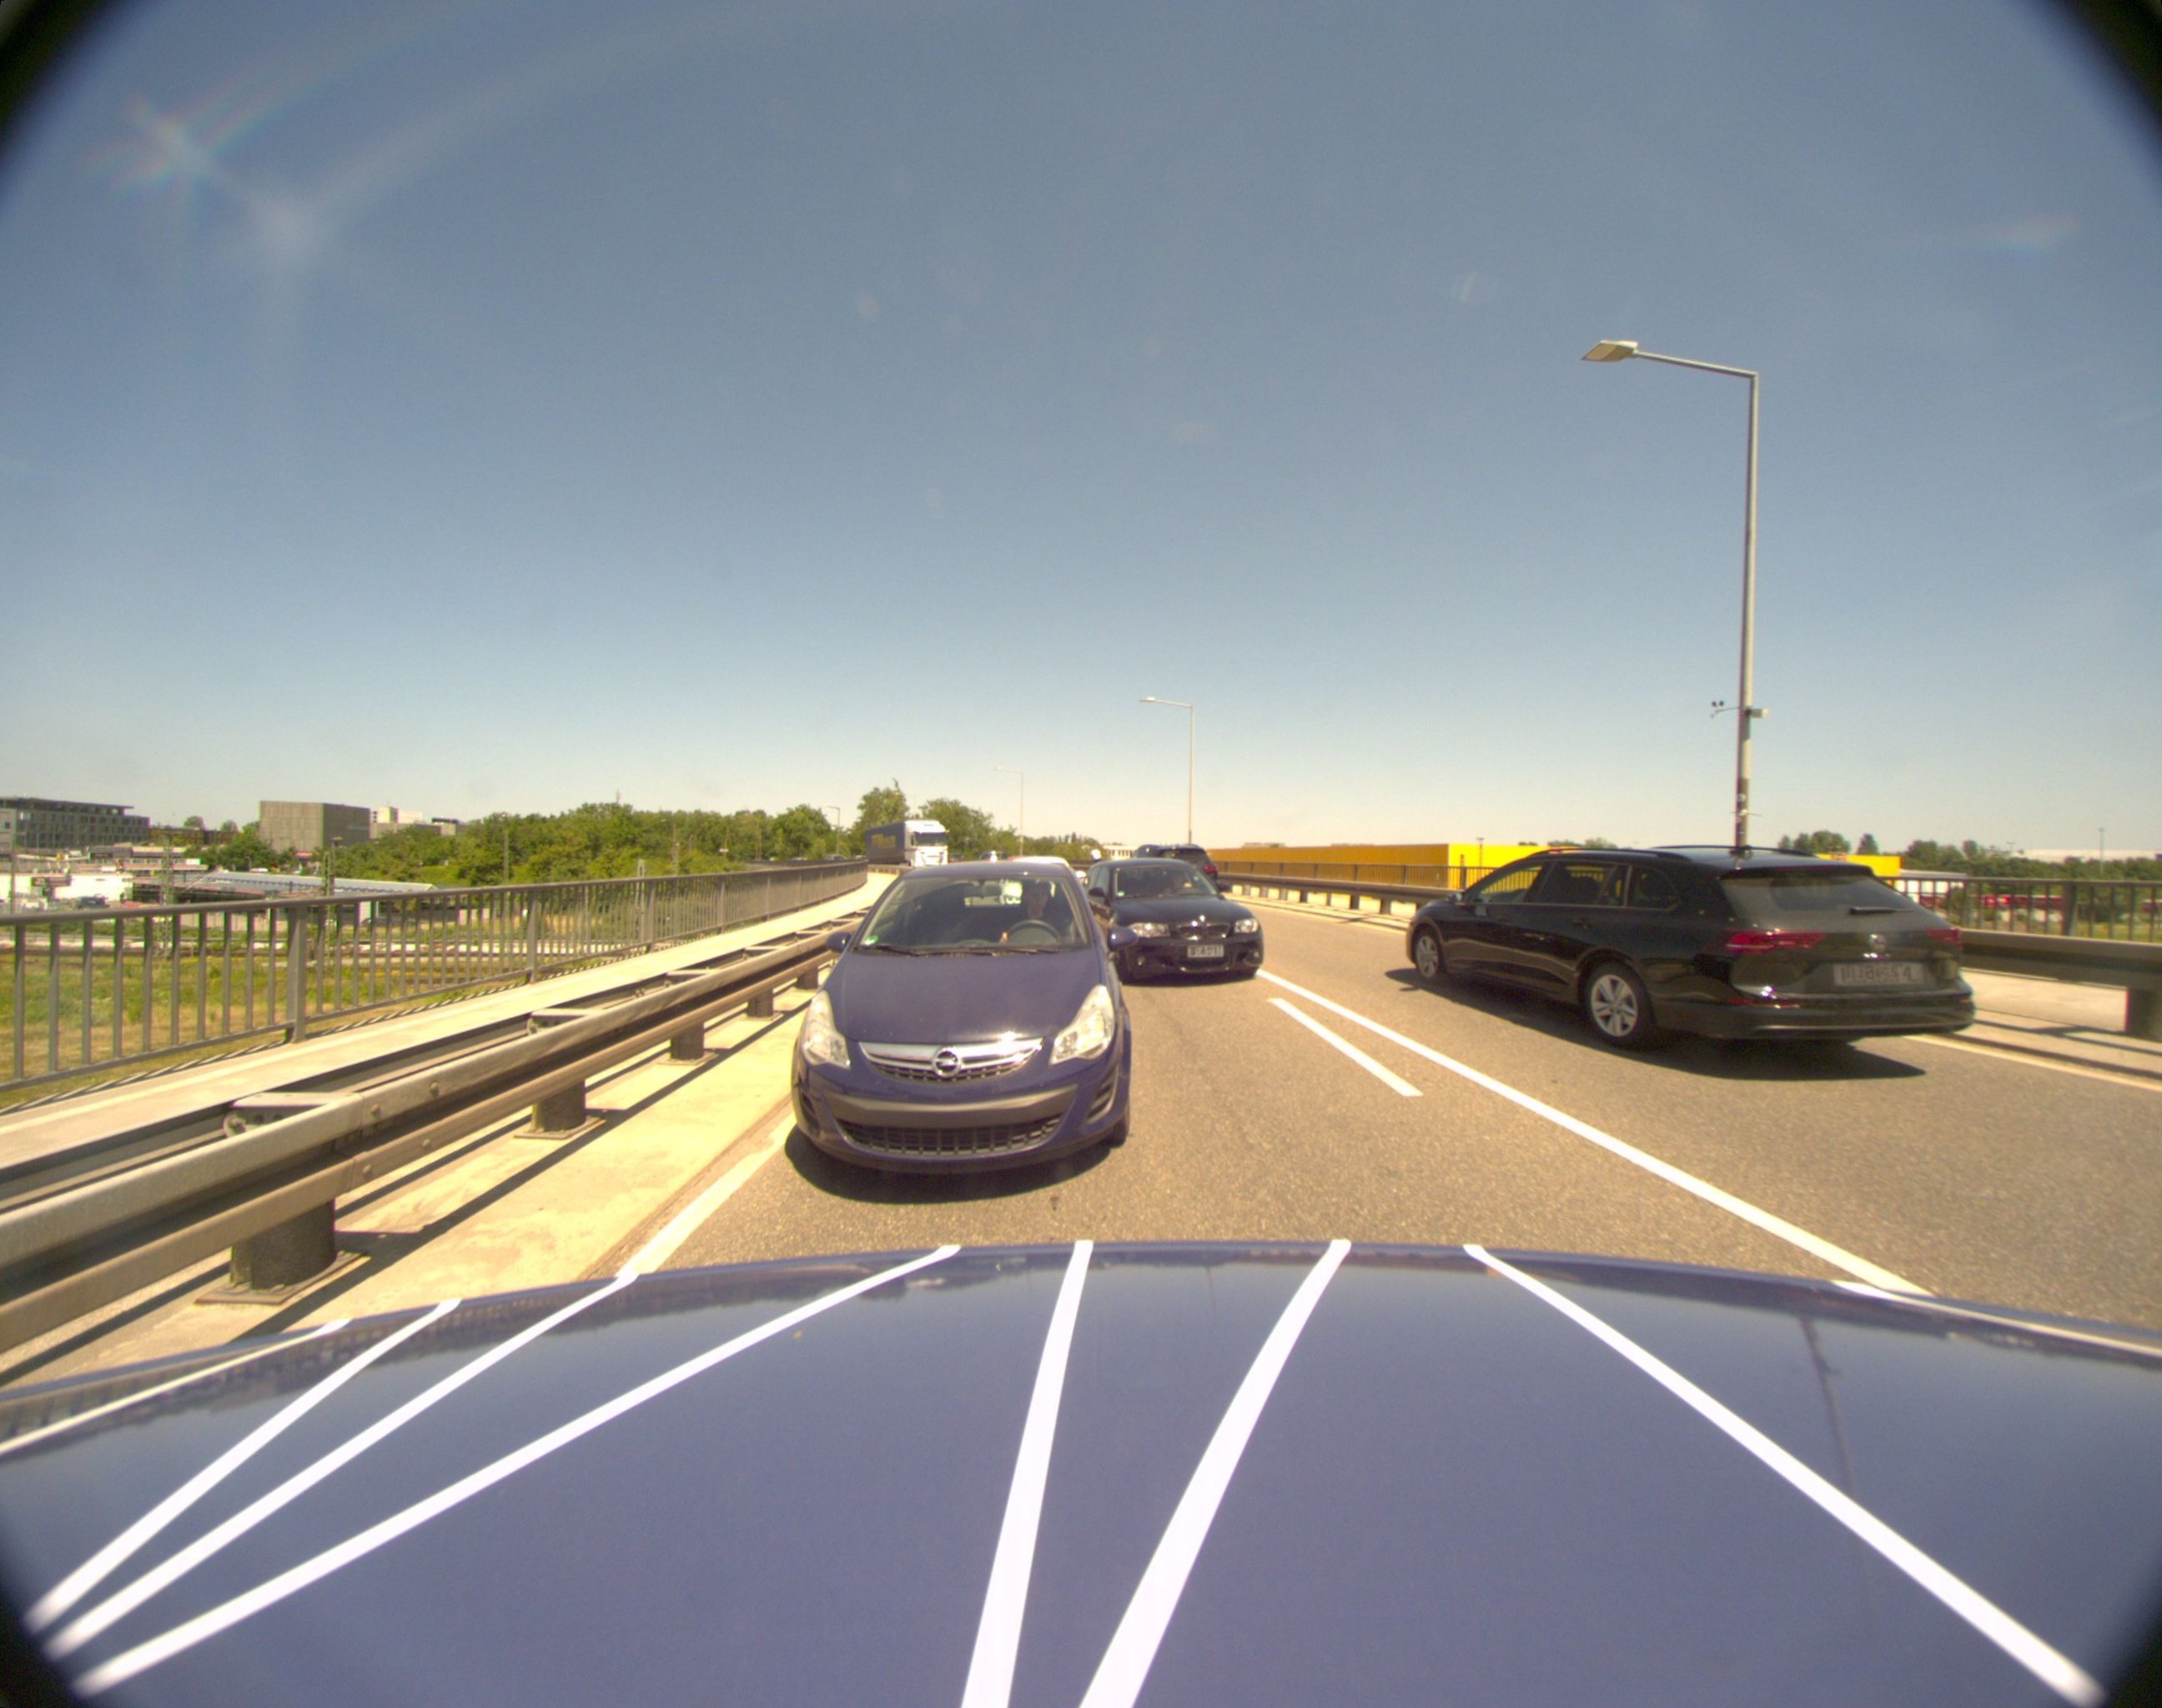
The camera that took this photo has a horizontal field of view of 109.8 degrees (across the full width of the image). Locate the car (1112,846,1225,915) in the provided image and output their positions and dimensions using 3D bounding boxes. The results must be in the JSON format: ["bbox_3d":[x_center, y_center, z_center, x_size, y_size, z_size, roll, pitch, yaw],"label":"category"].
[{"bbox_3d":[2.258,0.646,21.020,1.972,1.663,4.610,-1,0,-8],"label":"car"}]

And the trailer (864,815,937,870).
[{"bbox_3d":[-15.554,-0.948,64.454,2.706,4.211,12.683,-3,2,-28],"label":"trailer"}]

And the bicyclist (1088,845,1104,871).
[{"bbox_3d":[0.901,0.226,44.975,0.586,1.512,0.894,-2,1,-24],"label":"bicyclist"}]

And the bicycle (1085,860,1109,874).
[{"bbox_3d":[0.935,0.762,44.948,0.591,0.828,1.987,-1,1,-25],"label":"bicycle"}]

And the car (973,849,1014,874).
[{"bbox_3d":[-6.147,0.474,53.055,1.714,1.617,4.244,-3,2,-22],"label":"car"}]

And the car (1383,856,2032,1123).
[{"bbox_3d":[4.540,0.776,6.606,1.715,1.460,4.457,-1,0,-5],"label":"car"}]

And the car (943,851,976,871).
[{"bbox_3d":[-10.265,0.548,64.070,1.809,1.631,4.292,-1,1,-23],"label":"car"}]

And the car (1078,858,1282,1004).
[{"bbox_3d":[1.072,0.837,10.446,1.795,1.447,4.520,-1,1,-5],"label":"car"}]

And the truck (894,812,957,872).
[{"bbox_3d":[-11.821,-0.911,57.399,2.700,4.205,6.823,-3,2,-28],"label":"truck"}]

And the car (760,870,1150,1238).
[{"bbox_3d":[-0.657,0.905,5.319,1.645,1.431,3.998,-2,1,-4],"label":"car"}]

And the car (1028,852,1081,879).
[{"bbox_3d":[-1.424,0.571,39.657,1.685,1.300,3.966,-1,0,-18],"label":"car"}]

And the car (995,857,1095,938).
[{"bbox_3d":[-0.931,0.830,16.781,1.795,1.447,4.519,-2,1,-8],"label":"car"}]

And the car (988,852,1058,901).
[{"bbox_3d":[-2.073,0.701,25.899,1.796,1.446,4.518,-2,0,-11],"label":"car"}]
